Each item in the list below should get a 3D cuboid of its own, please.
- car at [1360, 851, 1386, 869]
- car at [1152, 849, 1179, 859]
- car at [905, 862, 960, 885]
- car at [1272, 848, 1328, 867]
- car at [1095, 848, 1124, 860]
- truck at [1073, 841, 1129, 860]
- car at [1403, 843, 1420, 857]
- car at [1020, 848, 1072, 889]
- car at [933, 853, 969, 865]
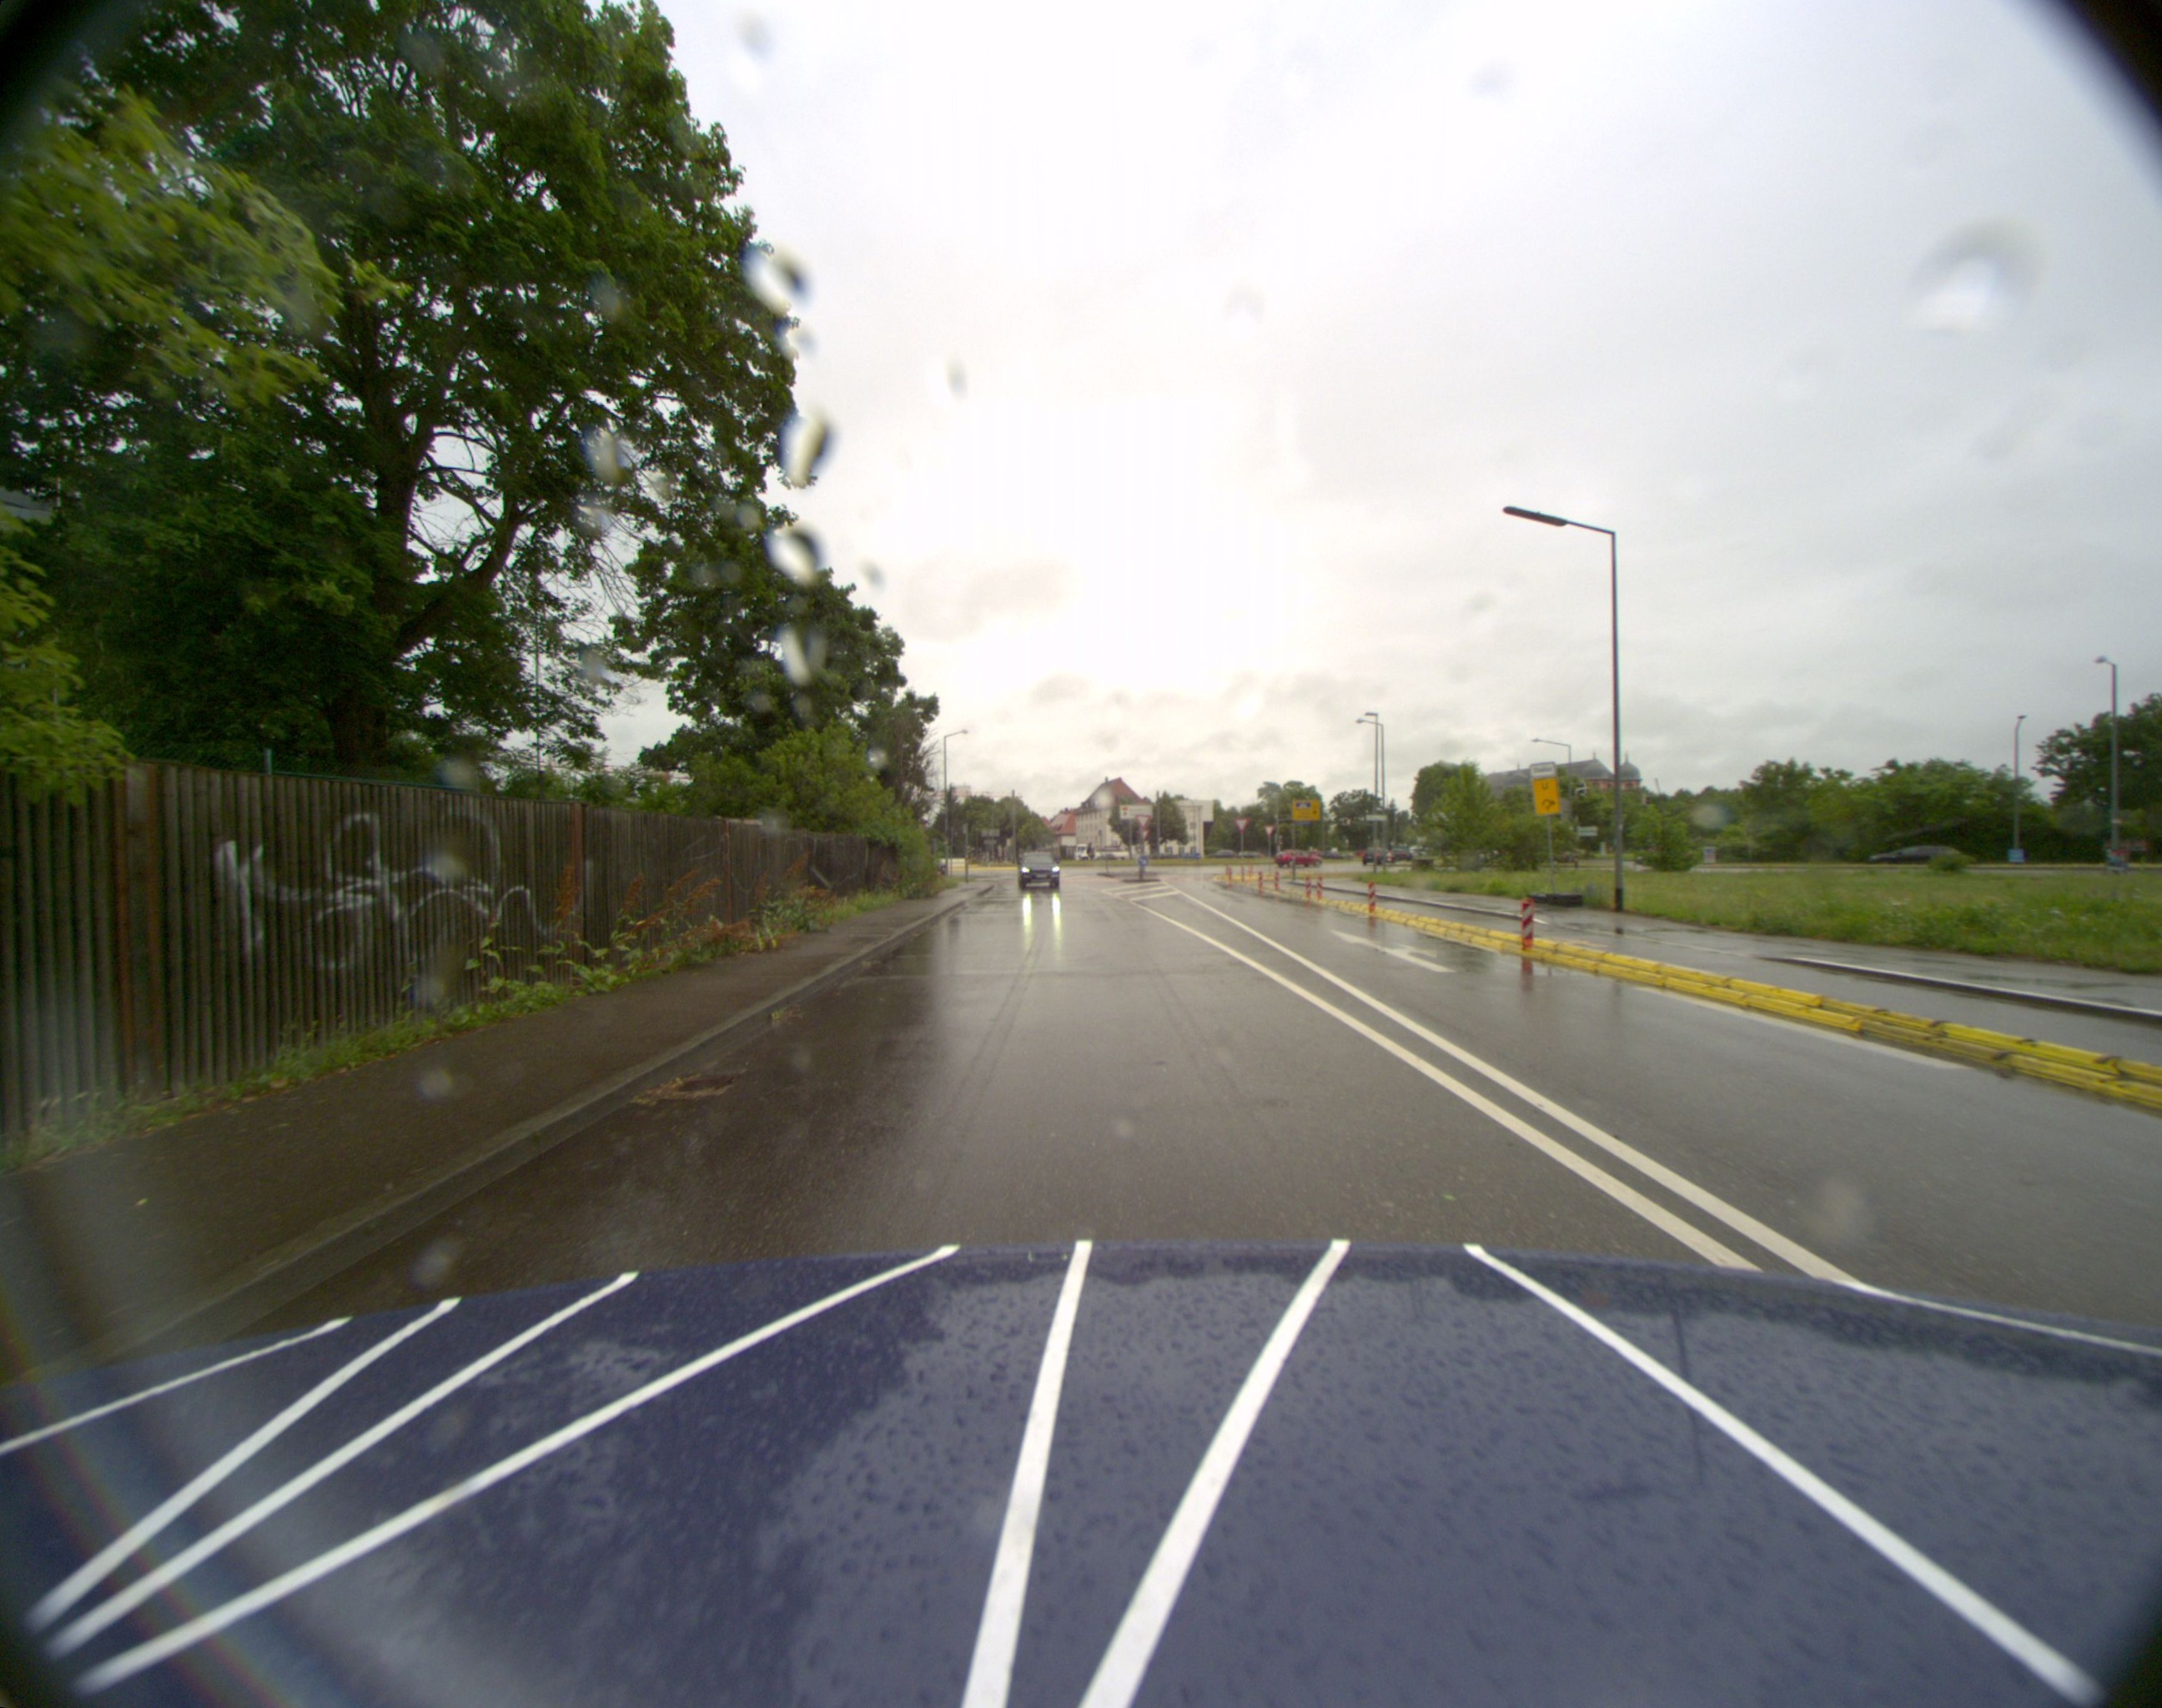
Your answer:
[{"bbox_3d":[27.423,0.541,71.324,1.784,1.509,4.339,-1,1,27],"label":"car"},{"bbox_3d":[12.488,0.038,112.441,3.994,1.441,1.848,-1,1,8],"label":"car"},{"bbox_3d":[-12.777,1.627,65.402,4.371,1.737,1.921,1,3,29],"label":"car"},{"bbox_3d":[18.953,0.322,65.761,4.318,1.451,1.786,-2,2,-18],"label":"car"},{"bbox_3d":[4.215,-0.053,113.241,3.999,1.639,1.787,-1,3,-7],"label":"car"},{"bbox_3d":[3.180,-0.533,121.116,8.798,2.697,1.997,-1,3,-10],"label":"truck"},{"bbox_3d":[42.568,-0.500,97.872,1.784,1.639,4.394,0,3,25],"label":"car"},{"bbox_3d":[-1.643,0.660,37.655,1.915,1.737,4.383,-1,3,6],"label":"car"},{"bbox_3d":[-17.565,0.667,102.958,4.555,1.484,1.607,-2,3,-29],"label":"car"}]
